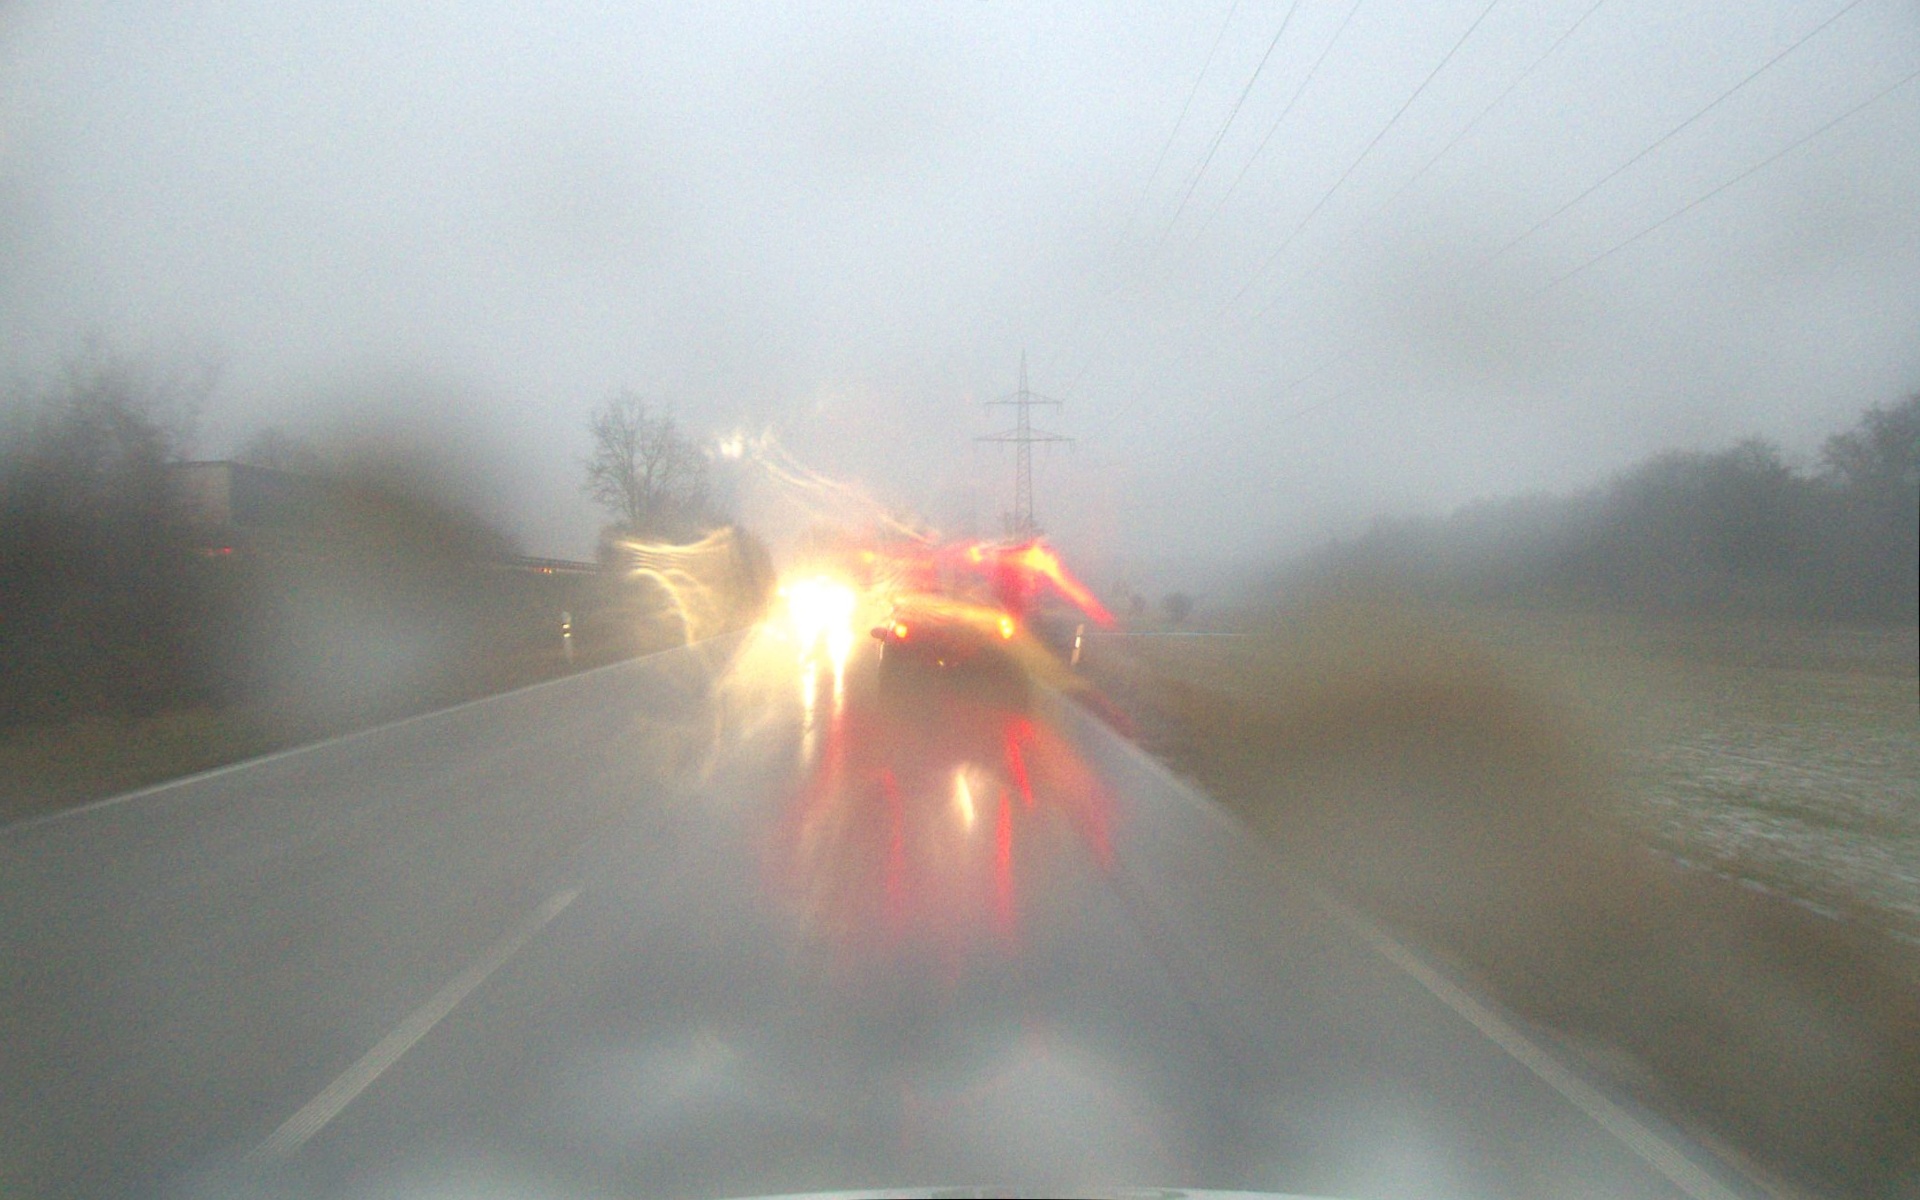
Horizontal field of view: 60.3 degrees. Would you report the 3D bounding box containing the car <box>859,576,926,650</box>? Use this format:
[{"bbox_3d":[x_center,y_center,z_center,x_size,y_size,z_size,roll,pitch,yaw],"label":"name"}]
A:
[{"bbox_3d":[-2.026,0.362,48.680,1.816,2.049,3.997,1,0,-4],"label":"car"}]

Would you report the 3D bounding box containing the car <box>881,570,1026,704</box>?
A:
[{"bbox_3d":[-0.142,0.393,19.350,1.471,1.423,3.197,1,0,-4],"label":"car"}]

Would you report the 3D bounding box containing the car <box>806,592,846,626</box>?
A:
[{"bbox_3d":[-6.658,0.410,82.508,1.750,1.619,4.485,1,1,-2],"label":"car"}]

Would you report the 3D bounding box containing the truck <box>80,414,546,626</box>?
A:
[{"bbox_3d":[-29.364,-3.052,82.295,7.389,7.848,40.146,1,0,0],"label":"truck"}]
